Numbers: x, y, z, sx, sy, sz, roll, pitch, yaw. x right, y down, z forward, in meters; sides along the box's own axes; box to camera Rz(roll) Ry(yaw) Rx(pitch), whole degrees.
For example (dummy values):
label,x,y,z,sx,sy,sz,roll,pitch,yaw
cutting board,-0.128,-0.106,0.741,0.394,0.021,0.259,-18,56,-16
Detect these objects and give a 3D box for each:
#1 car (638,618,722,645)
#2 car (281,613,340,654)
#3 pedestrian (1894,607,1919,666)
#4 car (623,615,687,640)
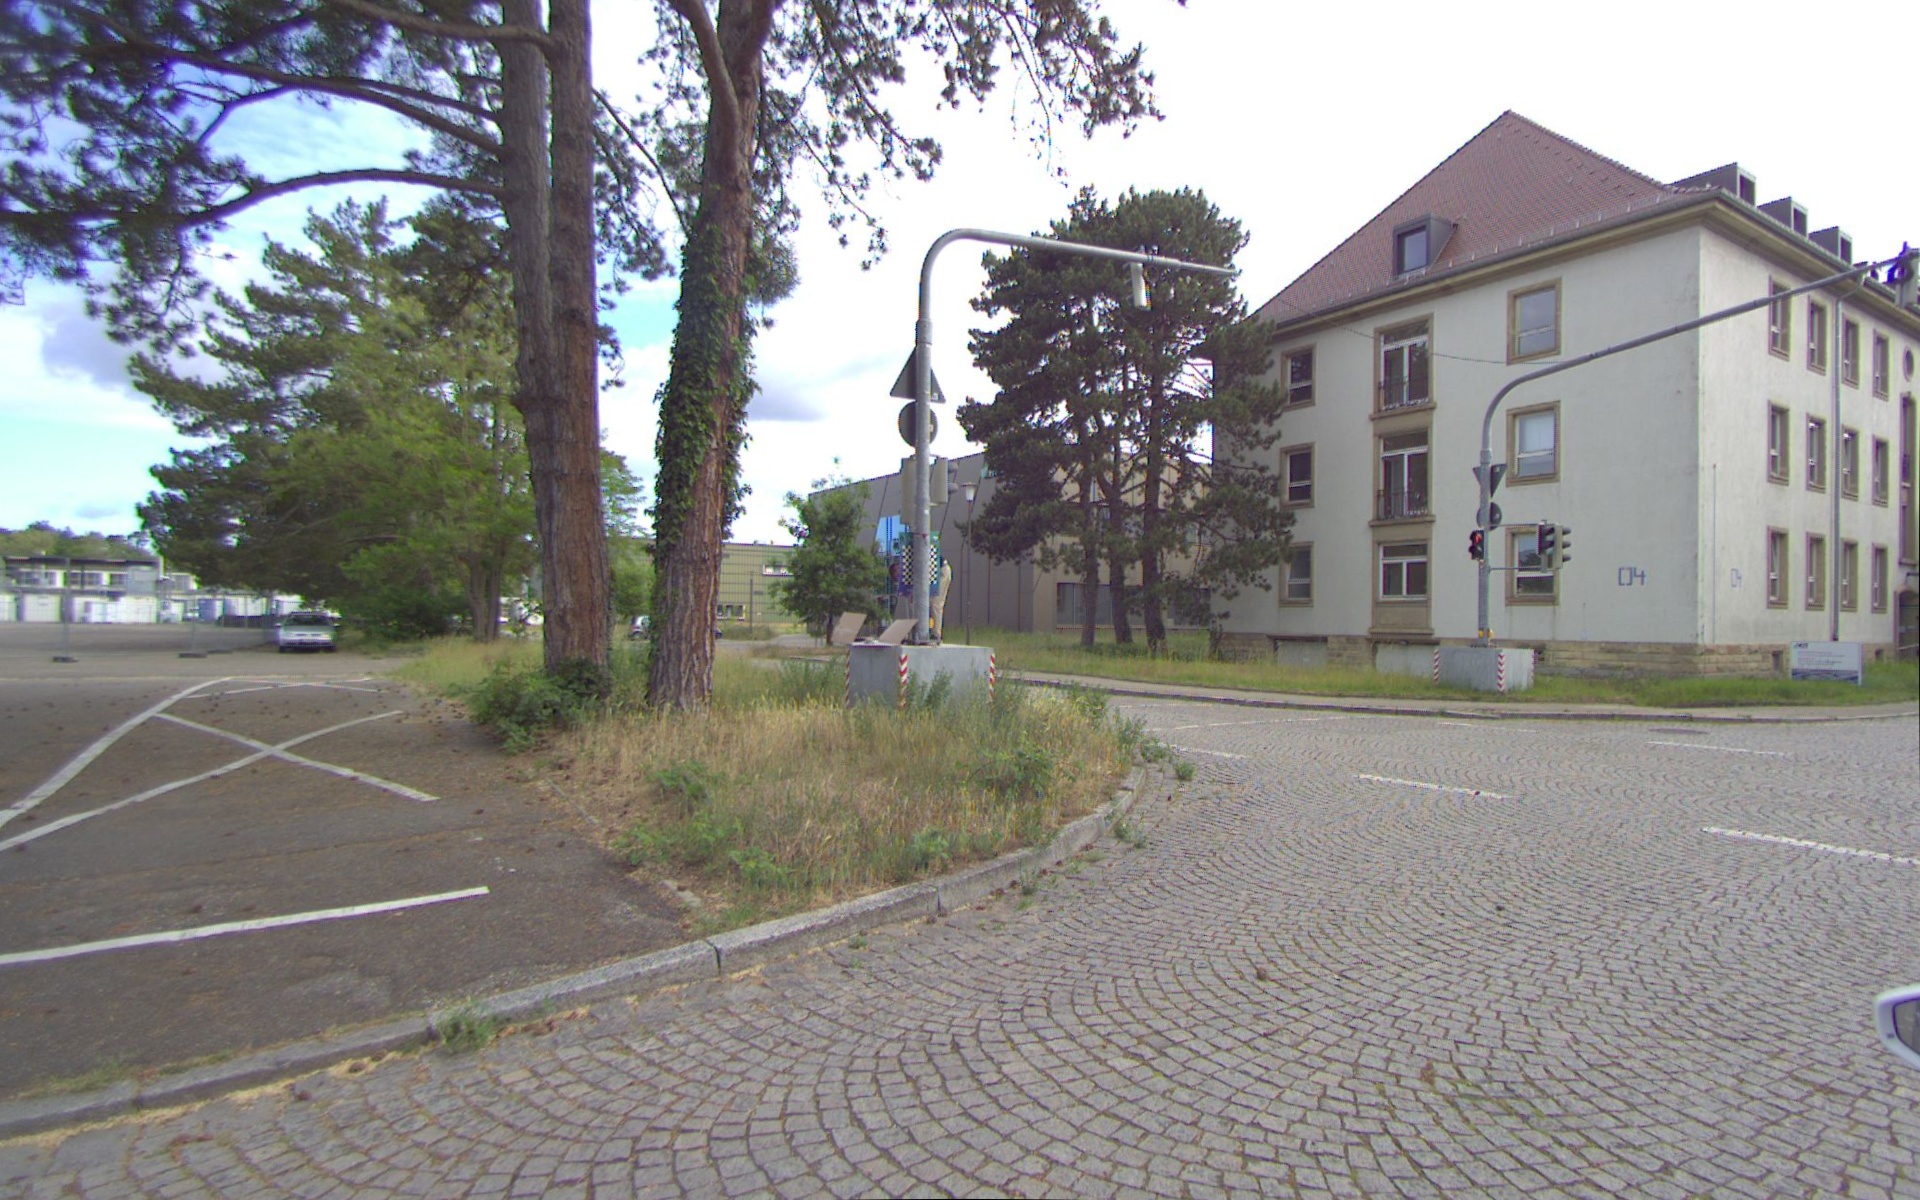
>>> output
label,x,y,z,sx,sy,sz,roll,pitch,yaw
car,-16.398,1.817,58.873,4.409,1.449,1.983,-1,0,-32
car,-23.633,1.178,36.516,1.680,1.410,3.962,1,-1,-34
pedestrian,33.243,1.267,34.745,1.009,2.040,1.083,1,-1,-27
car,-19.866,1.768,65.430,3.618,1.449,1.983,-1,0,-32
